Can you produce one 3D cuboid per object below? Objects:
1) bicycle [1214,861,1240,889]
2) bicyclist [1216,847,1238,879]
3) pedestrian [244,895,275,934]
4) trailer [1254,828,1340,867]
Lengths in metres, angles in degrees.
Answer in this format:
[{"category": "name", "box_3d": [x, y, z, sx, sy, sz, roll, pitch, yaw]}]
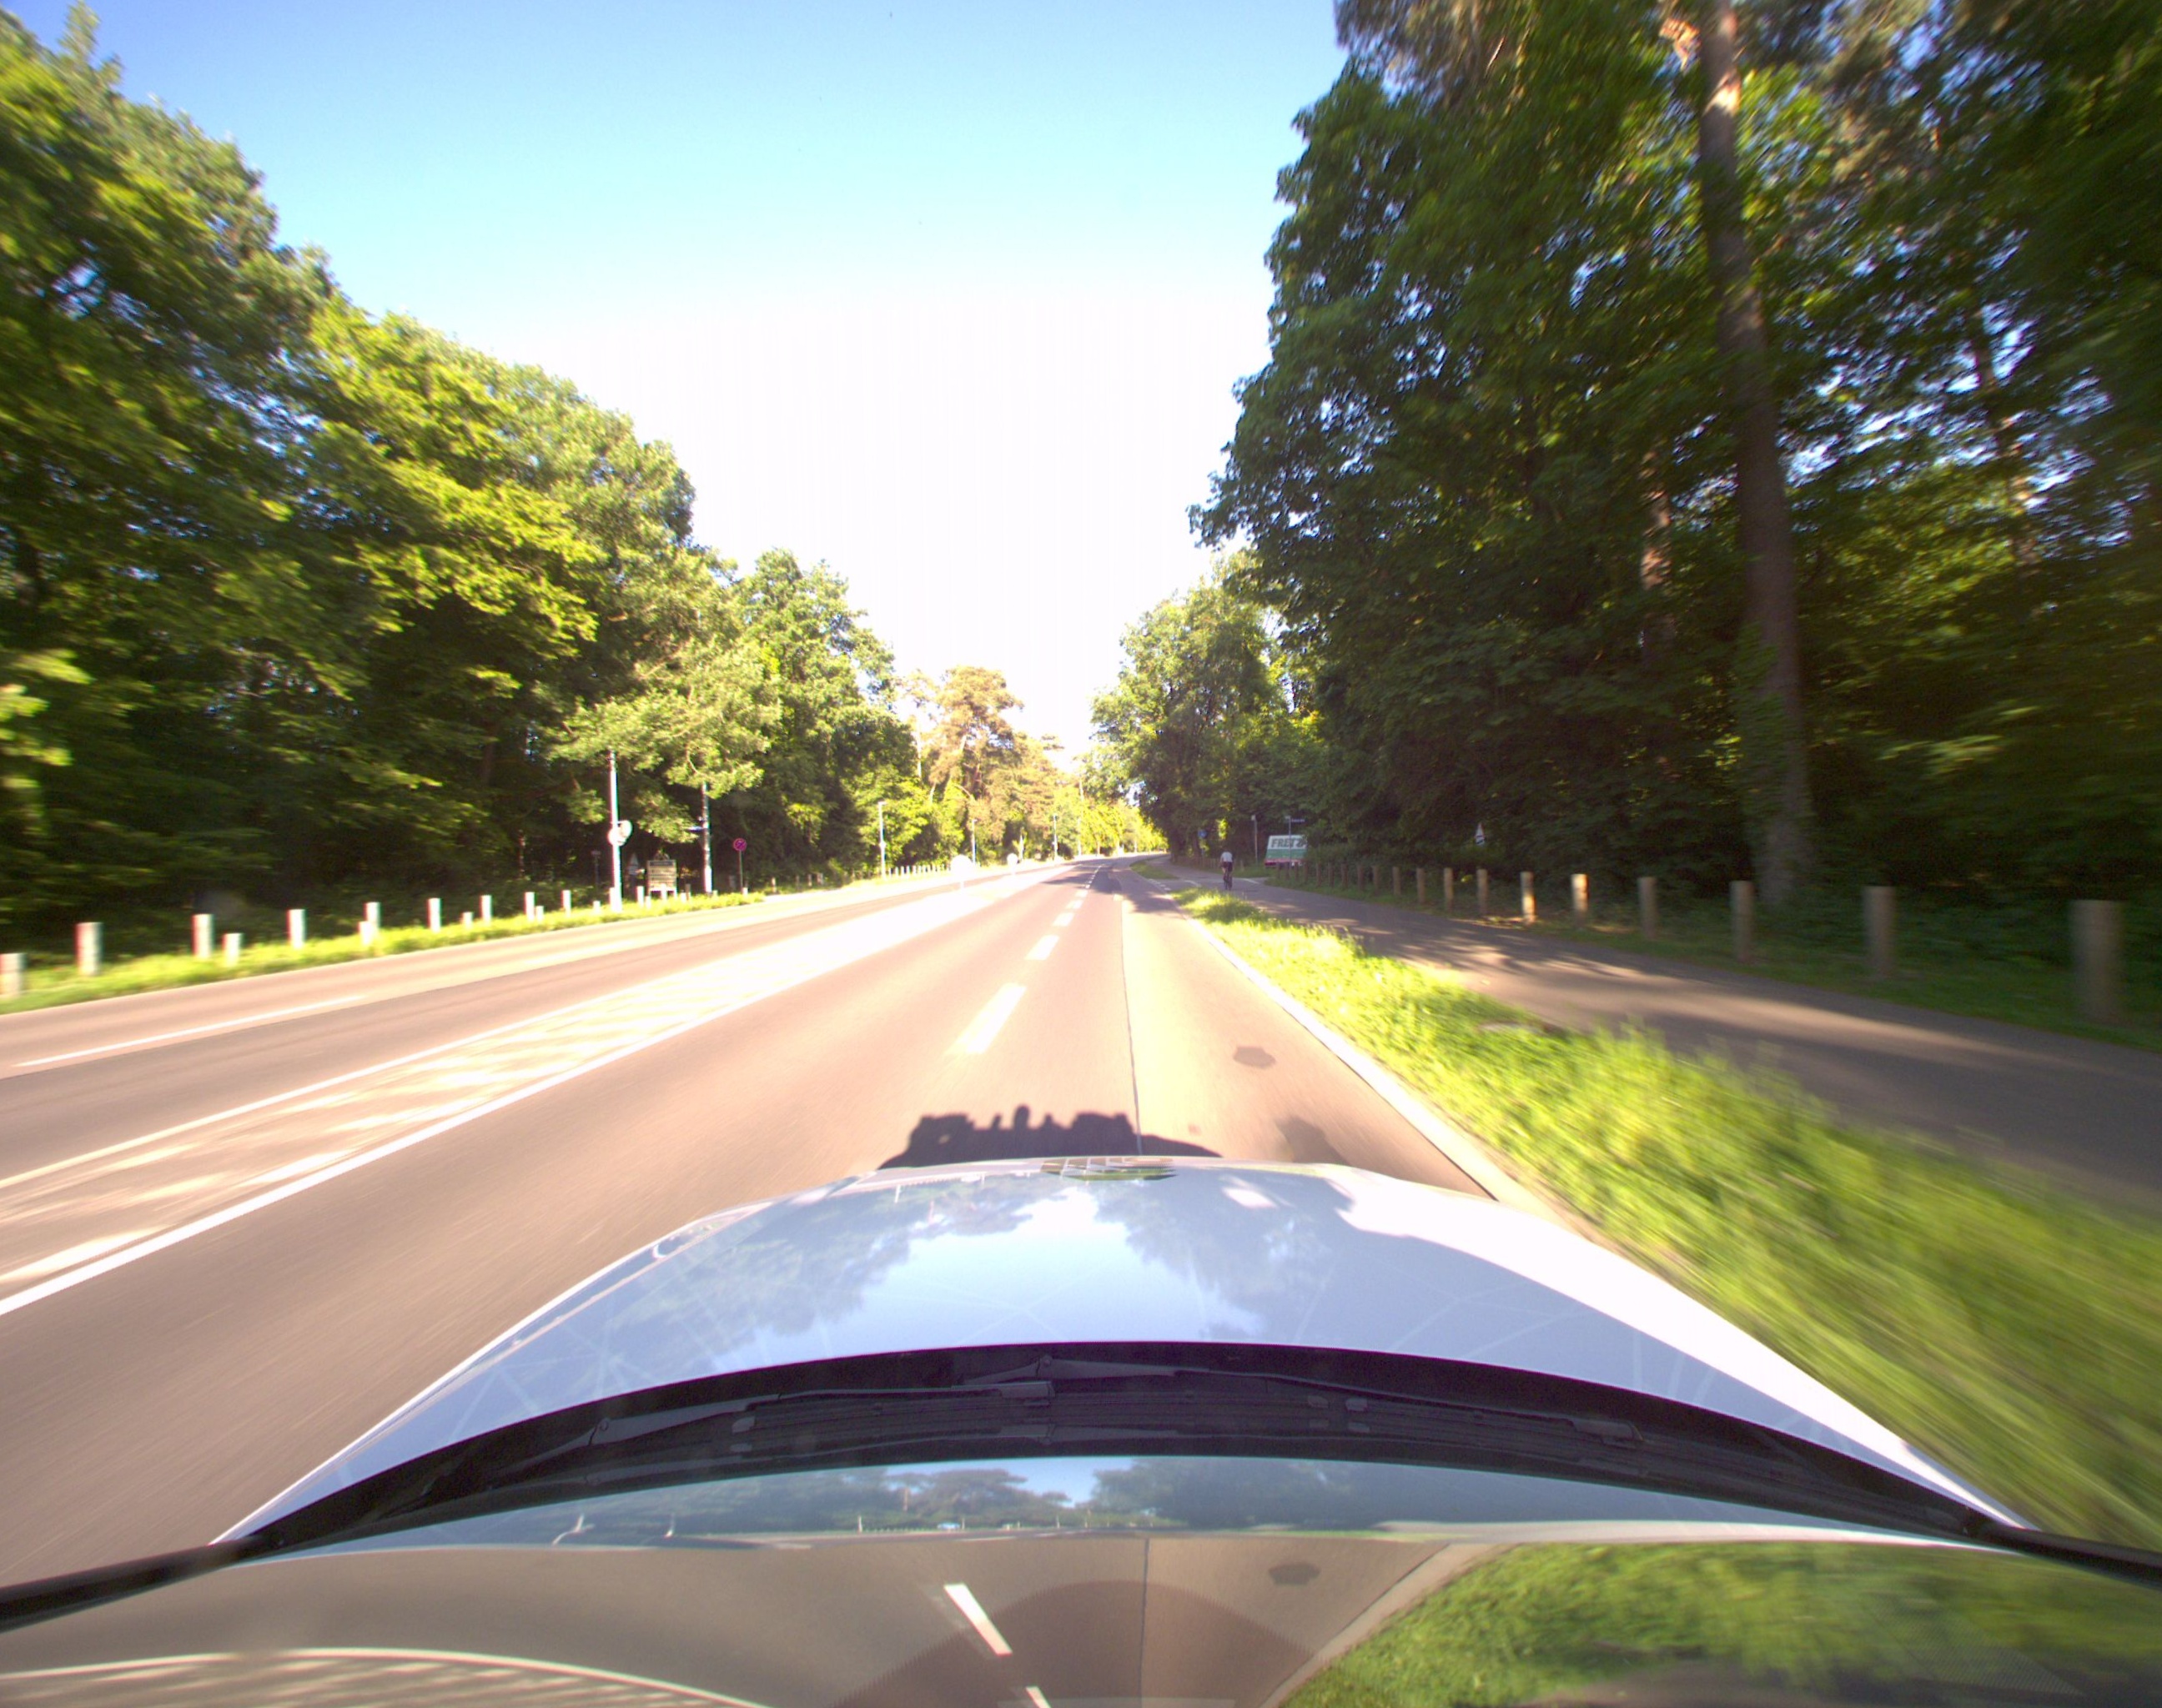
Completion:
[{"category": "bicycle", "box_3d": [5.916, 0.839, 33.090, 0.709, 1.056, 2.054, -2, 0, 2]}, {"category": "bicyclist", "box_3d": [5.904, 0.358, 33.016, 0.709, 1.288, 1.105, -2, 0, 2]}, {"category": "pedestrian", "box_3d": [-37.922, 2.791, 37.609, 0.648, 1.746, 0.705, -2, 0, 4]}, {"category": "trailer", "box_3d": [12.177, -0.326, 46.081, 4.173, 2.021, 2.012, -2, 0, 43]}]
